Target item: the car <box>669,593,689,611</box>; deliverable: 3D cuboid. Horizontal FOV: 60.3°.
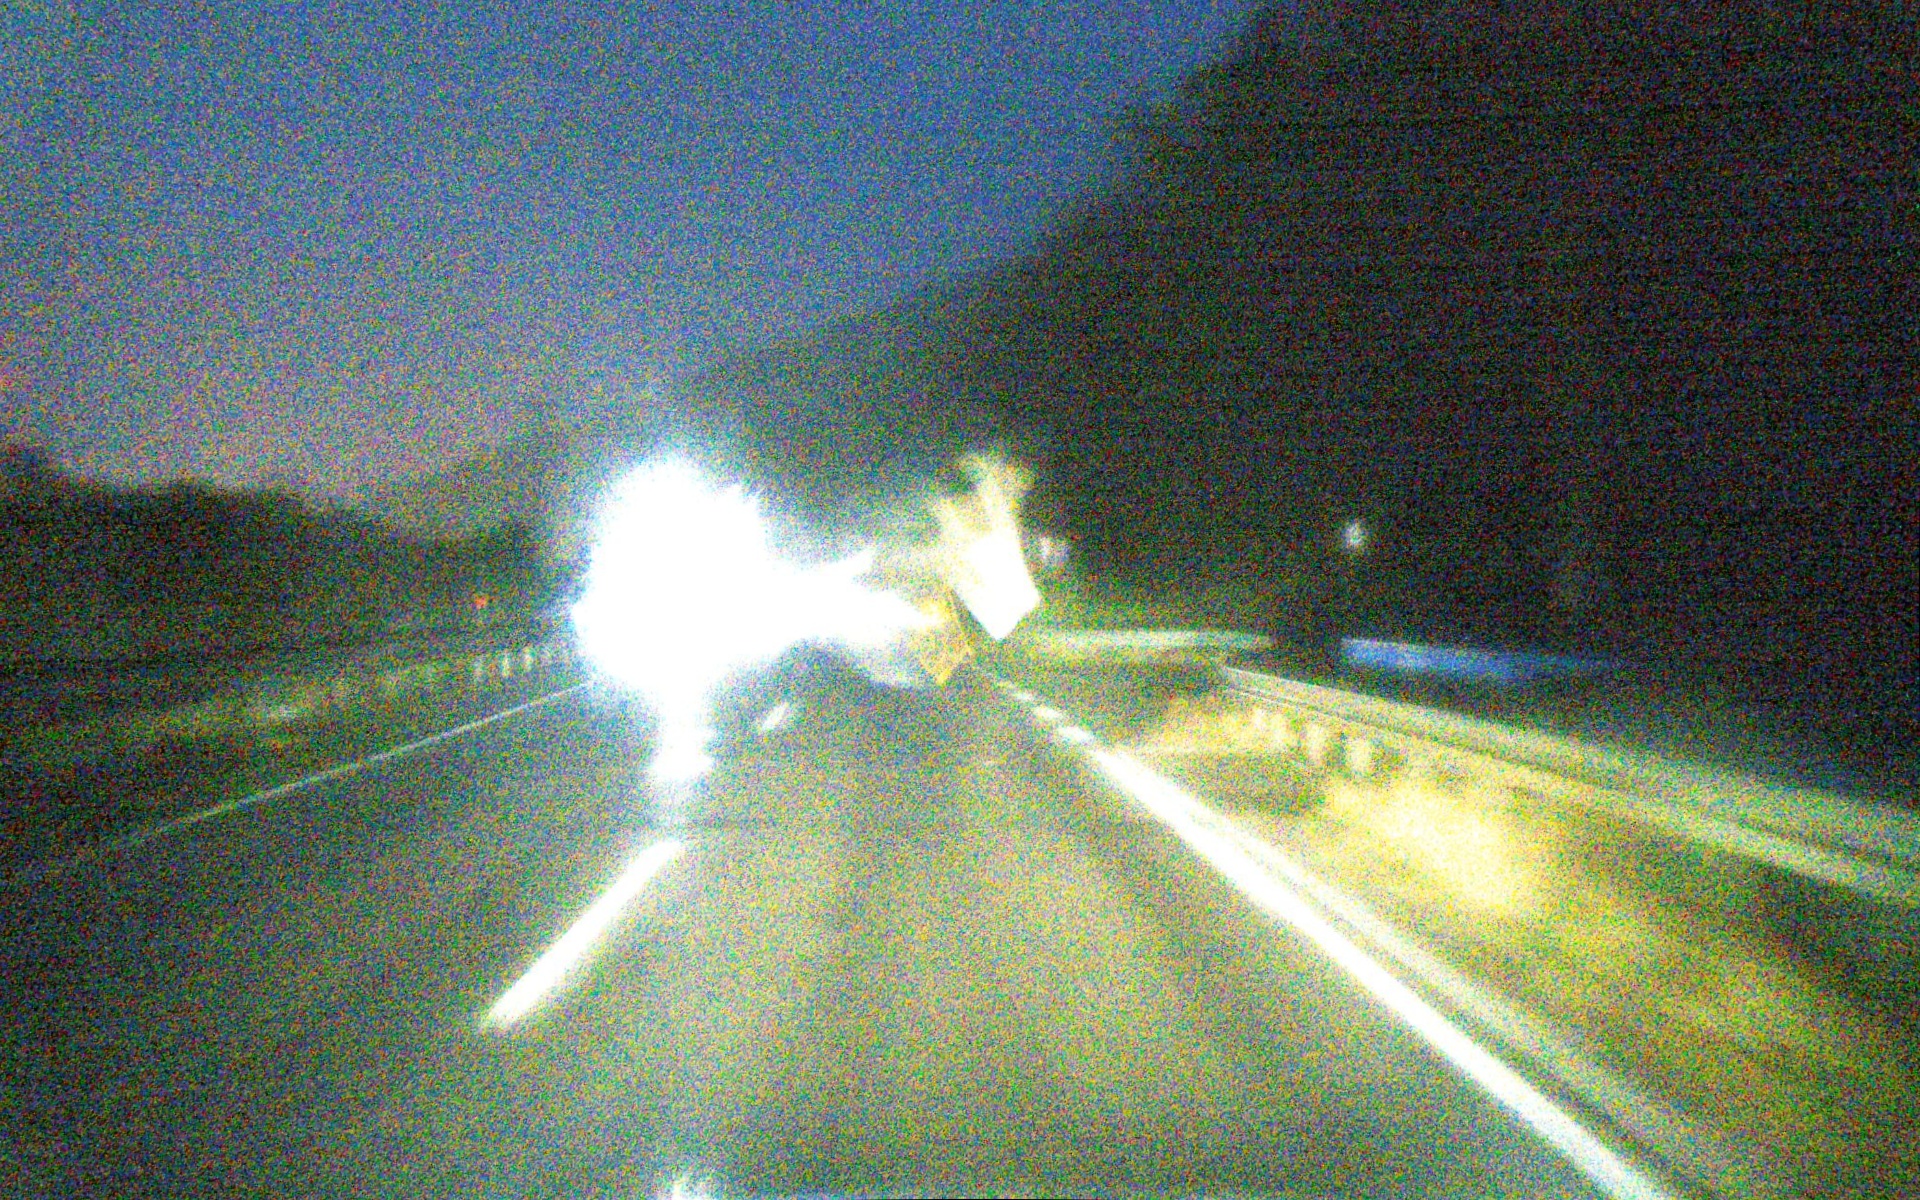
[{"bbox_3d":[-24.707,0.179,145.307,1.672,1.532,3.673,0,0,-12],"label":"car"}]
